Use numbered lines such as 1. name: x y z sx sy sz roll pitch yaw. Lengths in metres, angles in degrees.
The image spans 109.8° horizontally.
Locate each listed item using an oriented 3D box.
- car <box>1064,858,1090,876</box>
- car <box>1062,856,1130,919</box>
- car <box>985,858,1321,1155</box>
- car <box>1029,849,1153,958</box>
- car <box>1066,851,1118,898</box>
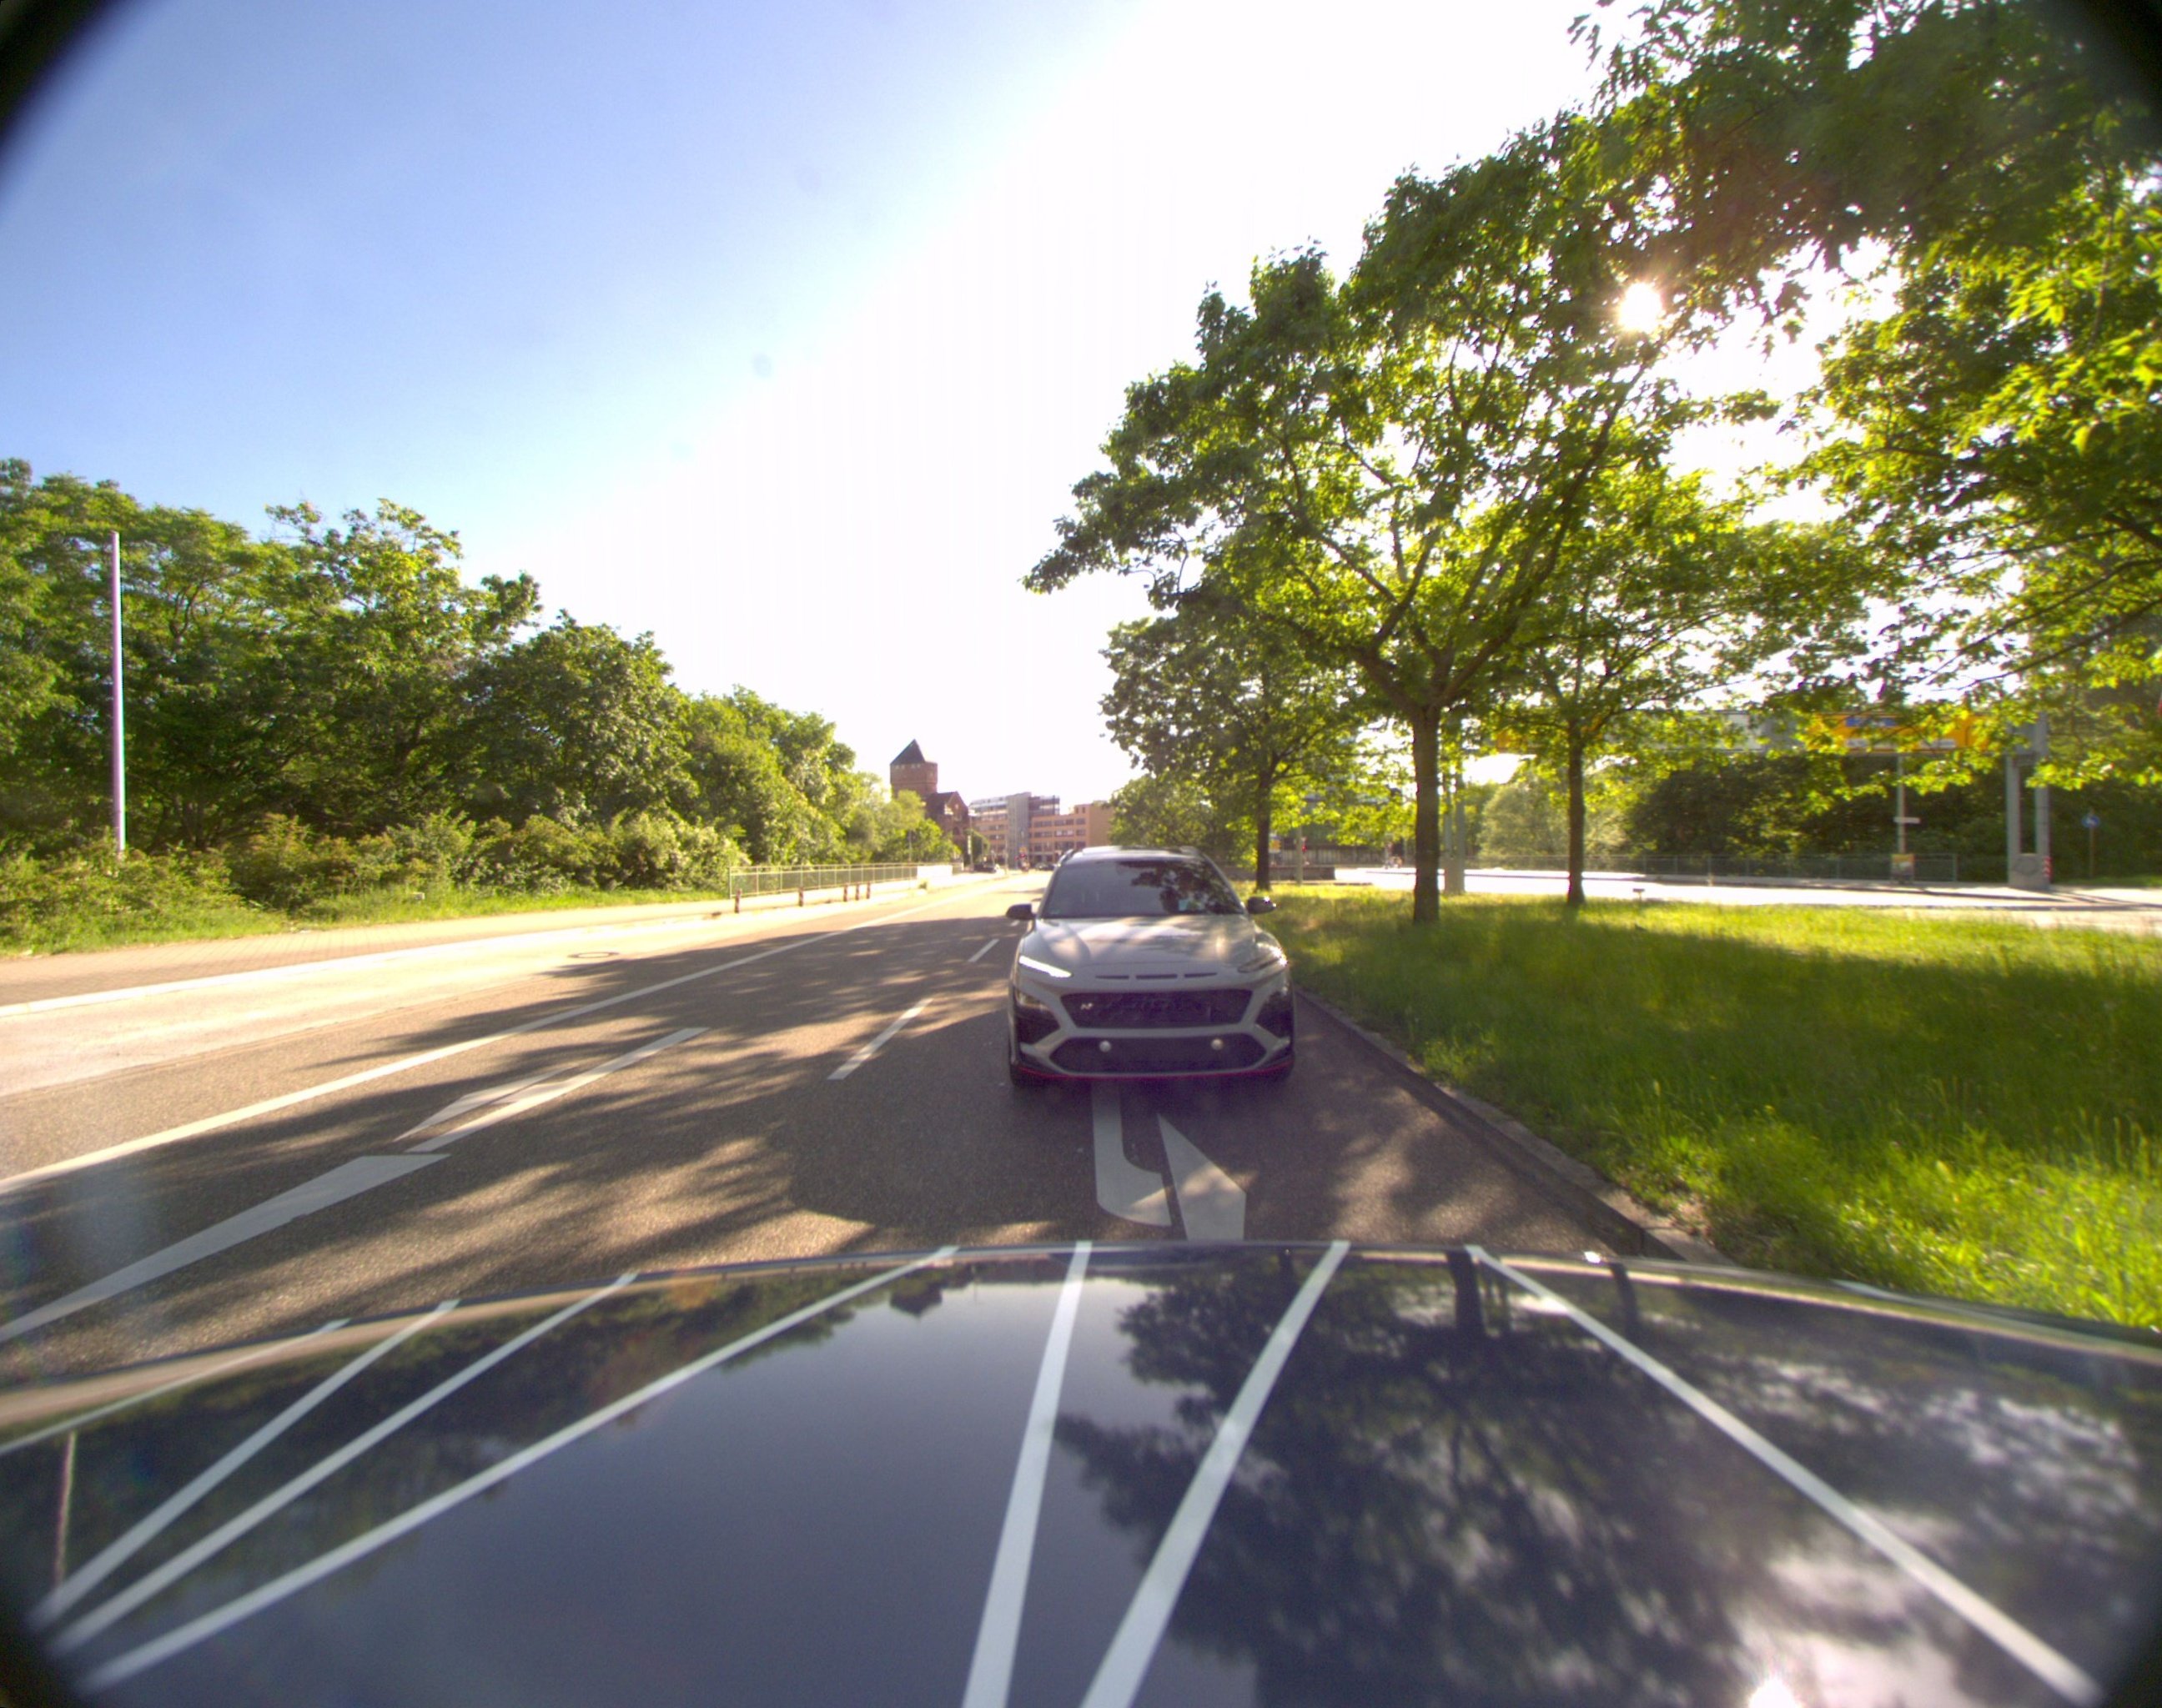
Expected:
1. car: -0.396 1.161 69.044 1.999 1.595 4.209 -1 0 -6
2. car: 0.455 0.859 21.361 1.678 1.499 3.948 -2 1 2
3. car: 0.416 0.828 6.061 1.780 1.542 3.980 -1 0 1
4. car: 0.332 0.757 13.571 1.744 1.539 4.002 -4 0 6
5. car: 0.456 0.734 29.342 1.833 1.638 4.000 -1 0 2
